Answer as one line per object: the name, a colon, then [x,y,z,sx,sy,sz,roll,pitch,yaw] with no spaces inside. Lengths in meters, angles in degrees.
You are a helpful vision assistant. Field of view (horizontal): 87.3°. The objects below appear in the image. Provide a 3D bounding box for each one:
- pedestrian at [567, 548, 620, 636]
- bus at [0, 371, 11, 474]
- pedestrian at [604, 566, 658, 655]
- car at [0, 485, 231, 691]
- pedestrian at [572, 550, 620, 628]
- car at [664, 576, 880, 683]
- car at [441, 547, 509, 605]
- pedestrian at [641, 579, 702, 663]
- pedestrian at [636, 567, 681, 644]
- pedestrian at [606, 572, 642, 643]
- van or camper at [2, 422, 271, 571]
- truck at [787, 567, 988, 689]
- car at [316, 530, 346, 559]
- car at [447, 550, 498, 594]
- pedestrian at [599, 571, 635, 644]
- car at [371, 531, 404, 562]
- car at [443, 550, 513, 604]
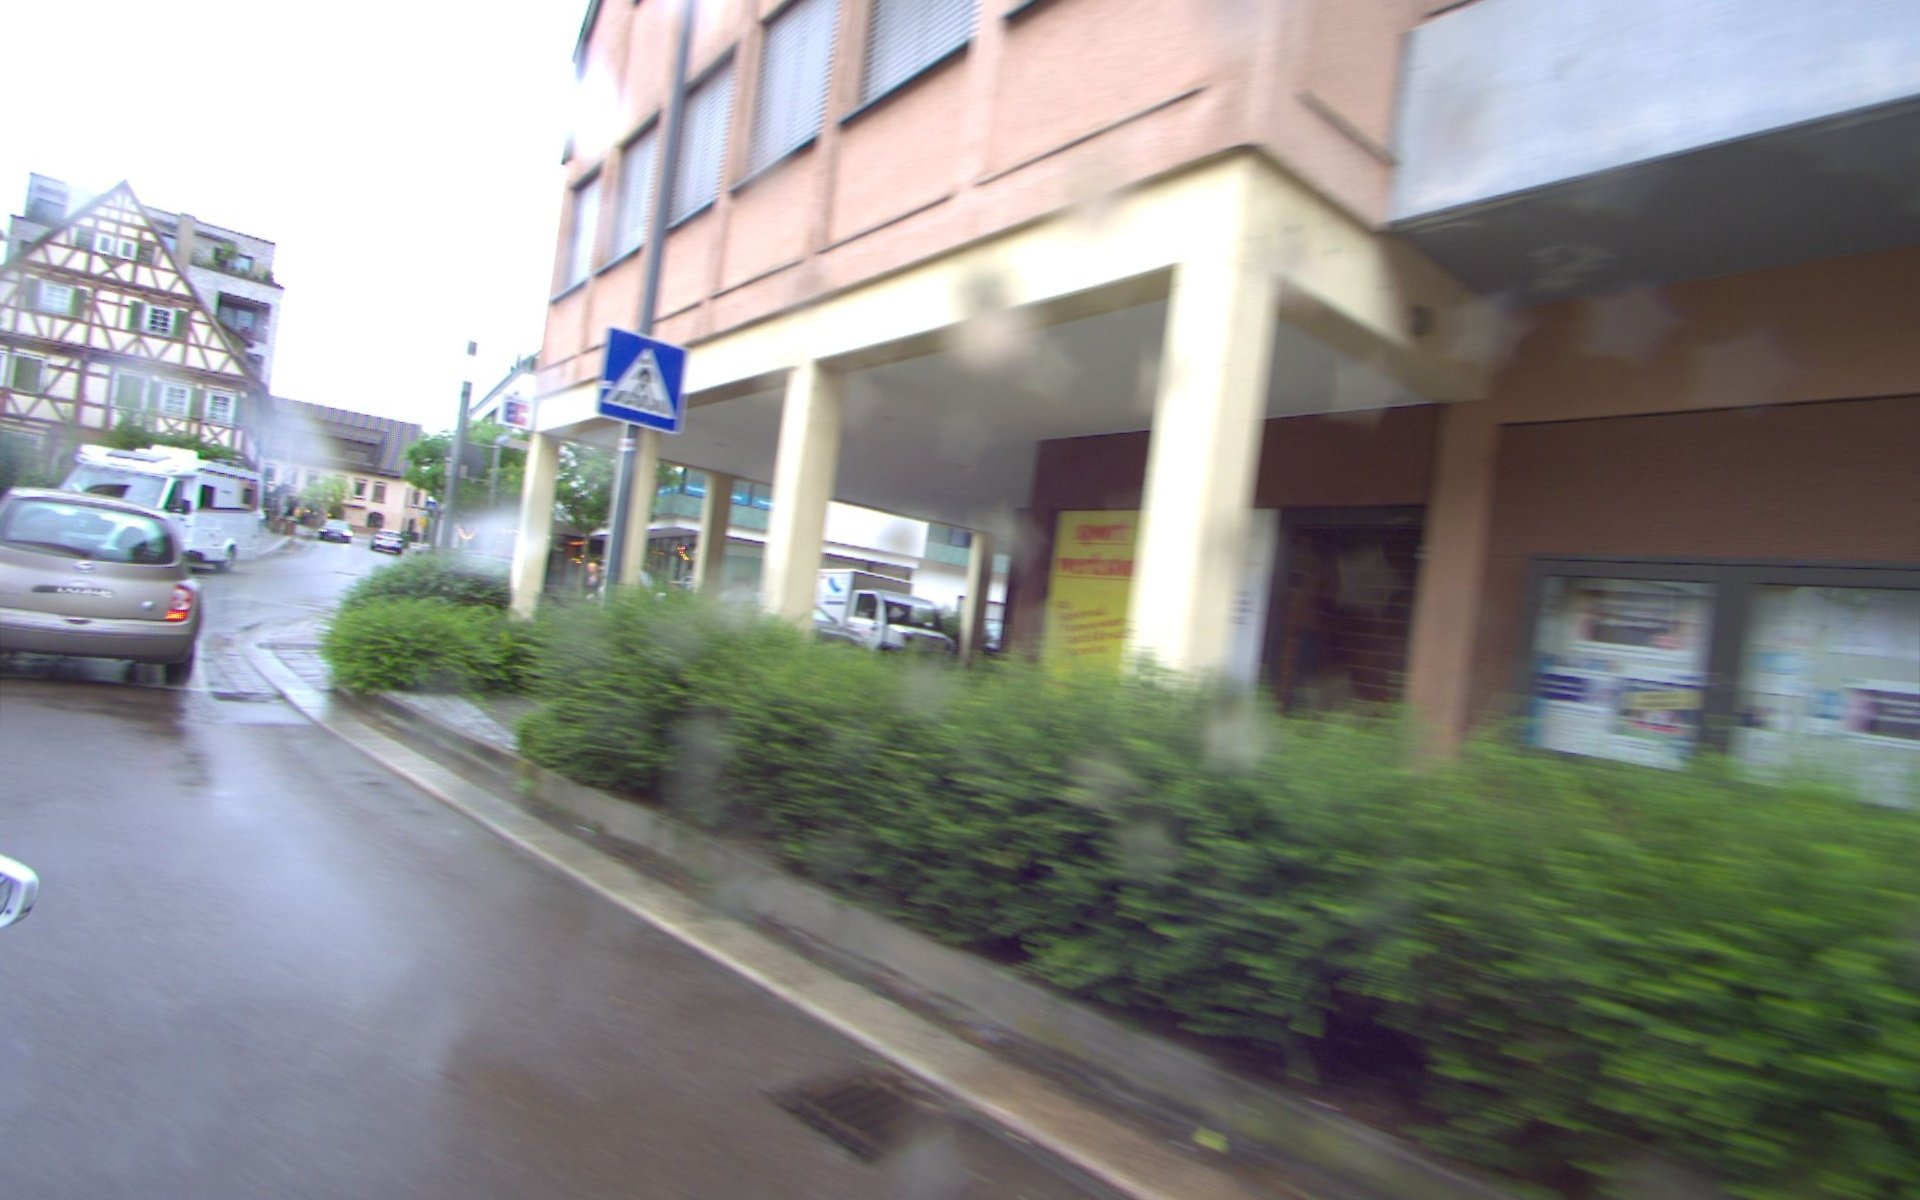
pedestrian: [-7.478,-0.146,20.558,0.686,1.681,0.820,7,0,-9]
bus: [-17.390,-2.421,11.472,2.770,3.126,10.605,8,0,0]
pedestrian: [-6.758,0.223,20.716,0.712,1.709,0.733,7,0,-5]
car: [-8.028,-0.200,9.042,3.293,1.488,1.521,7,-1,40]
pedestrian: [-8.903,-0.277,24.617,0.729,1.769,0.885,7,0,-33]
car: [-3.333,0.439,17.106,1.754,1.291,4.427,8,-2,-36]
car: [-13.886,-0.686,28.927,1.523,1.378,3.354,8,-2,-25]
pedestrian: [-6.173,0.461,21.589,0.950,1.658,0.734,7,-1,-6]
pedestrian: [-7.150,0.122,23.840,0.630,1.709,0.736,7,0,-36]
pedestrian: [-8.329,0.192,24.903,0.537,1.683,0.516,7,0,-34]
van or camper: [-19.044,-2.187,23.851,2.411,2.616,6.724,8,-1,-18]
truck: [-1.480,0.467,19.027,1.754,1.829,3.960,8,-1,-37]
car: [-43.739,-3.850,70.007,1.576,1.733,3.294,8,-1,-31]
car: [-18.700,-1.096,38.593,1.600,1.431,3.974,5,1,-26]
pedestrian: [-7.493,0.174,21.990,0.489,1.527,0.490,7,0,-10]
car: [-37.501,-3.479,65.967,1.662,1.732,3.296,8,-1,-29]
car: [-16.289,-0.815,33.919,1.612,1.520,3.966,5,1,-32]
